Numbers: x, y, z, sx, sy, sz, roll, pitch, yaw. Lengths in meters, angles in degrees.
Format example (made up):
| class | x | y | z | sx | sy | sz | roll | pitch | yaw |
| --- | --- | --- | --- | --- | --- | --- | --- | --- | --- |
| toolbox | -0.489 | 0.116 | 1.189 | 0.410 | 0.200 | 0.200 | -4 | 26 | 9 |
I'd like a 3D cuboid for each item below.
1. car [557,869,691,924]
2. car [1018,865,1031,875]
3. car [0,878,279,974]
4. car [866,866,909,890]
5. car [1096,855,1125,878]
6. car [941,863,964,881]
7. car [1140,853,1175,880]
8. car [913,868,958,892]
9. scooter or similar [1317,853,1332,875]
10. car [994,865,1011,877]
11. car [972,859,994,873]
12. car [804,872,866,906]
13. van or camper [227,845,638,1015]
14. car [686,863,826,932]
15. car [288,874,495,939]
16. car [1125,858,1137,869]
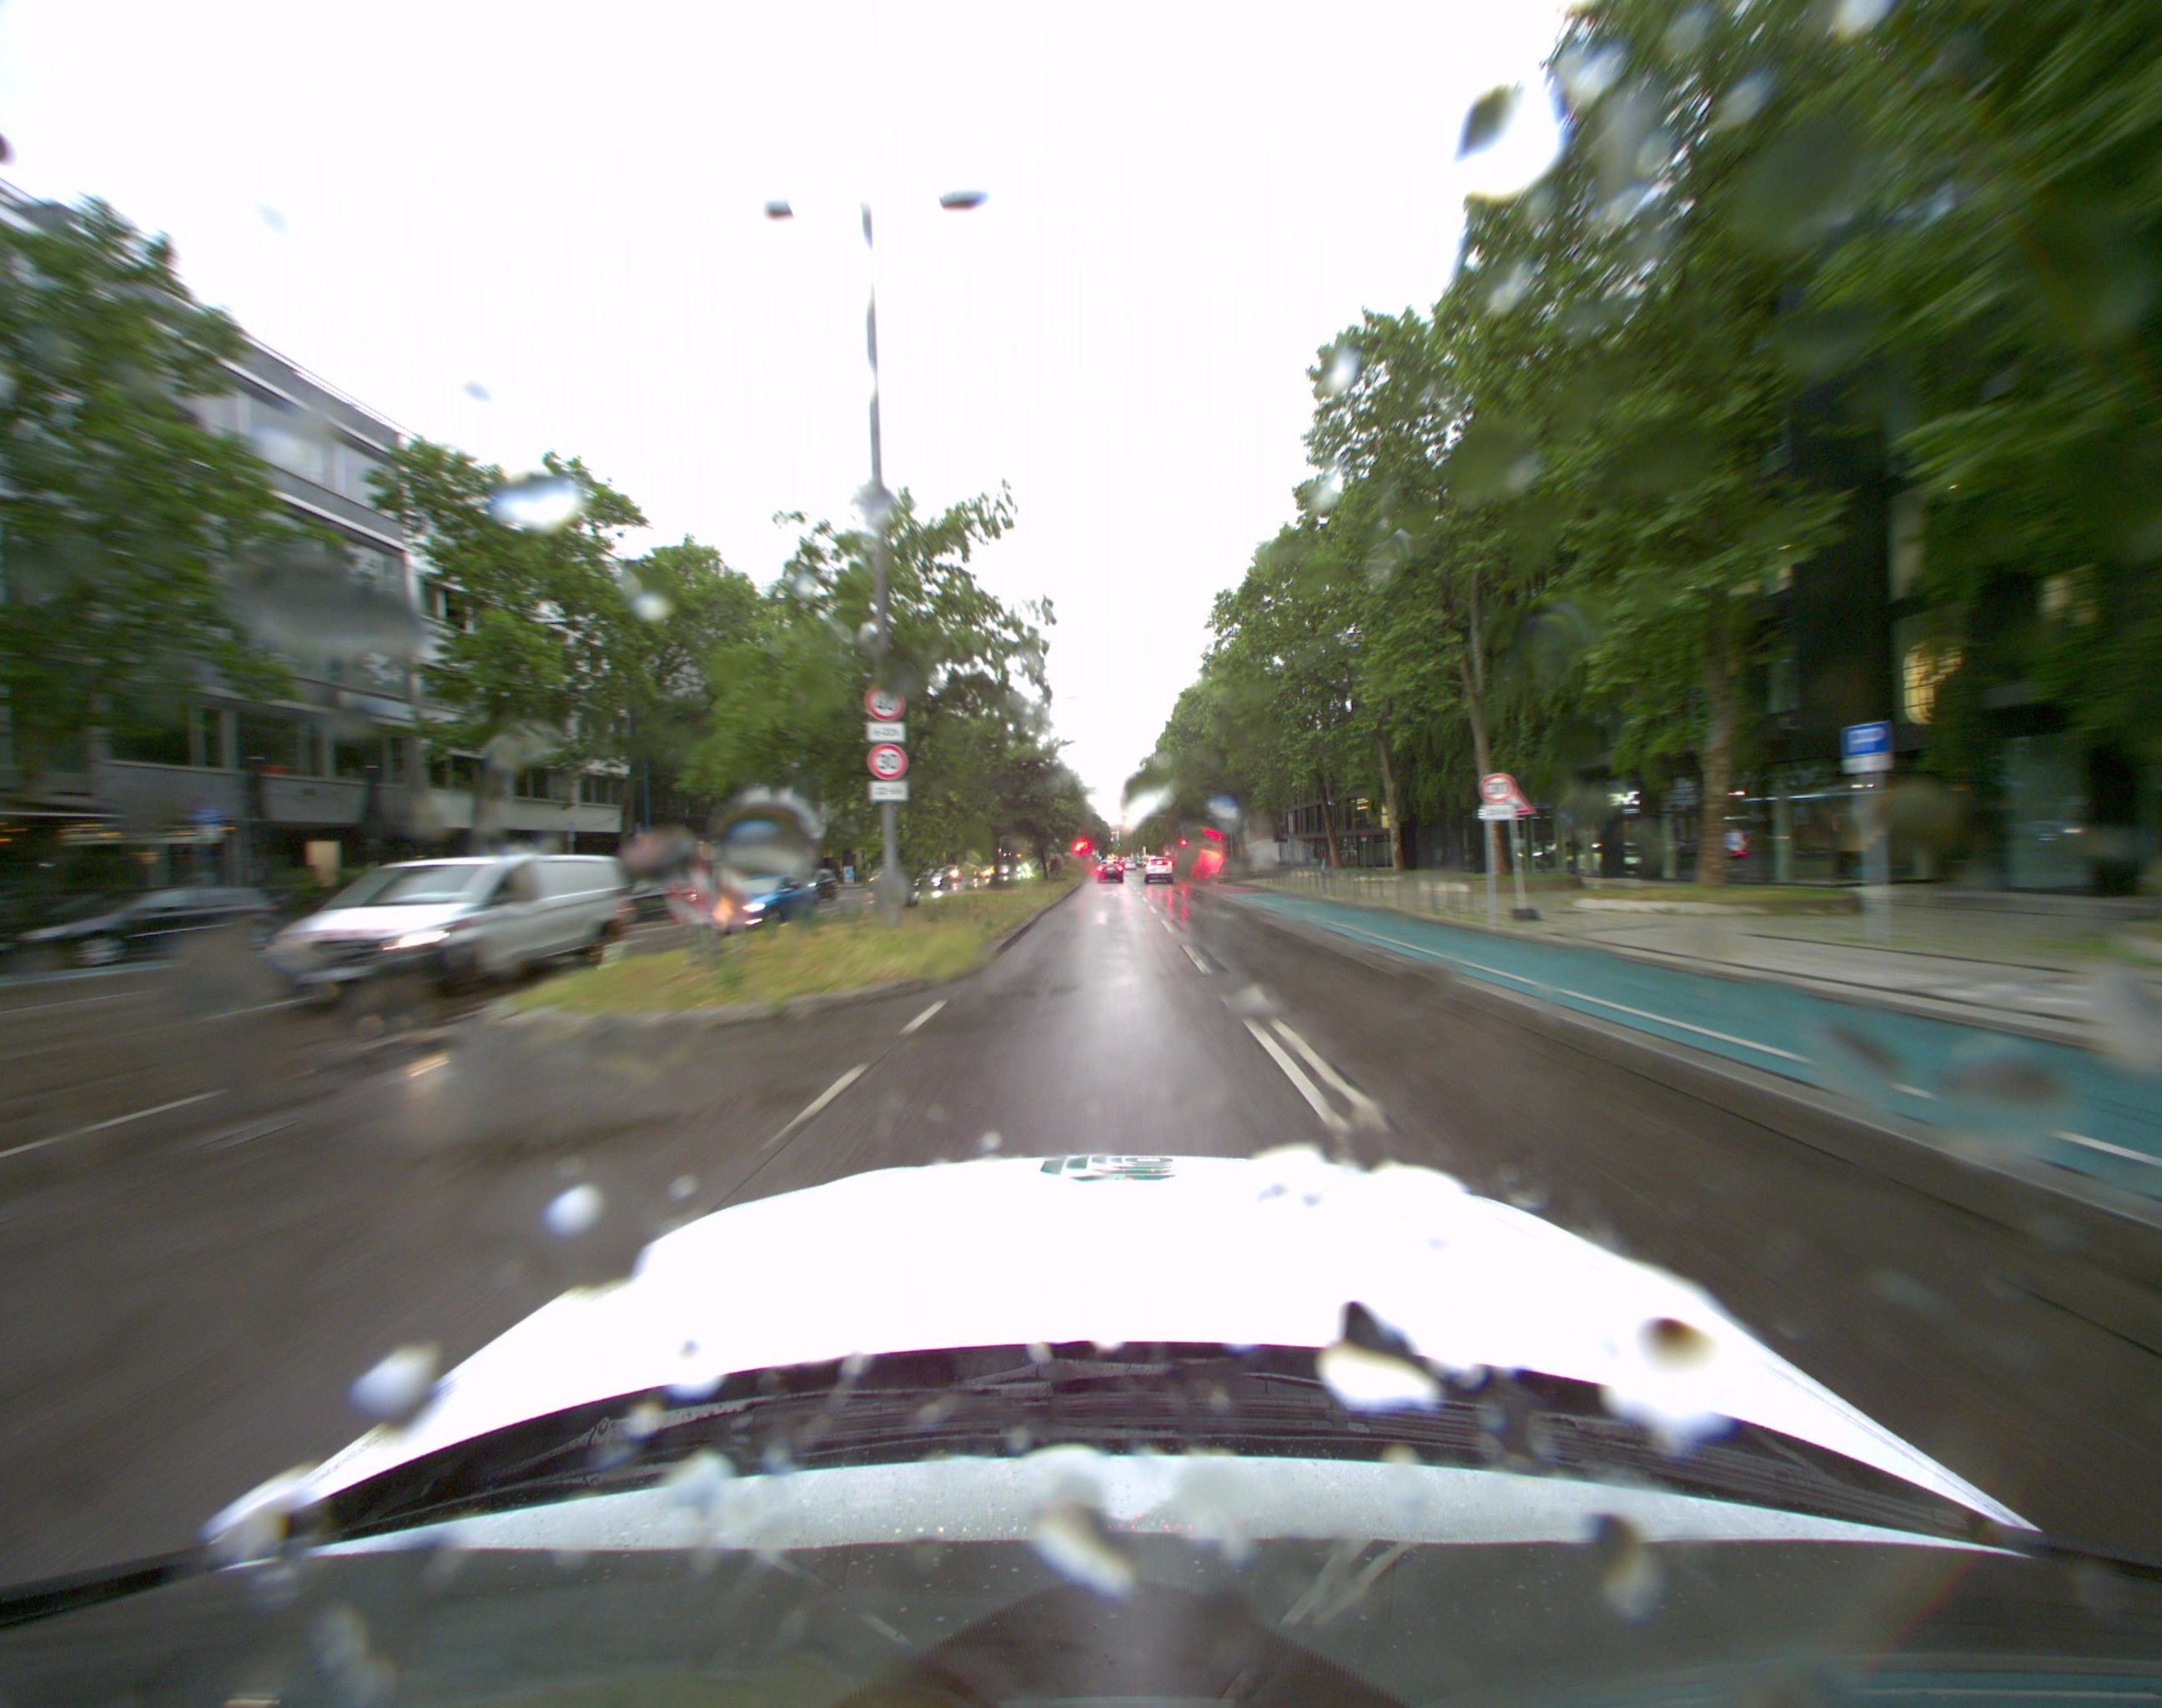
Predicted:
| class | x | y | z | sx | sy | sz | roll | pitch | yaw |
| --- | --- | --- | --- | --- | --- | --- | --- | --- | --- |
| car | -14.138 | 1.255 | 25.487 | 1.743 | 1.476 | 4.097 | -2 | -1 | 1 |
| car | -8.849 | 2.513 | 127.660 | 1.608 | 1.394 | 3.598 | -1 | -1 | 2 |
| car | -18.789 | 1.320 | 16.072 | 1.830 | 1.508 | 4.002 | -2 | 0 | 2 |
| car | -12.799 | 1.569 | 54.165 | 1.836 | 1.429 | 3.644 | -2 | 0 | 2 |
| car | 2.083 | 0.866 | 57.463 | 1.911 | 1.491 | 4.001 | -2 | 0 | 2 |
| car | -11.528 | 1.623 | 73.121 | 1.488 | 1.463 | 2.734 | -2 | 0 | 3 |
| car | 5.009 | 0.788 | 53.992 | 1.986 | 1.655 | 4.890 | -2 | 0 | 2 |
| car | -9.311 | 1.646 | 52.389 | 1.740 | 1.476 | 4.102 | -1 | -1 | 5 |
| scooter or similar | 13.662 | 0.564 | 45.693 | 0.377 | 1.228 | 1.086 | -2 | -1 | 38 |
| car | -10.185 | 2.135 | 105.347 | 1.608 | 1.394 | 4.186 | -2 | 0 | 2 |
| car | -10.827 | 1.322 | 90.096 | 1.836 | 1.389 | 4.001 | -2 | 0 | 2 |
| car | -11.190 | 1.585 | 37.268 | 1.712 | 1.367 | 3.051 | -1 | 1 | 3 |
| van or camper | -8.988 | 0.878 | 12.133 | 1.988 | 1.913 | 5.247 | -2 | 0 | -2 |
| car | -8.461 | 1.067 | 21.675 | 1.836 | 1.482 | 4.398 | -1 | 1 | 2 |
| car | -18.405 | 1.343 | 22.069 | 1.687 | 1.409 | 4.458 | -2 | 0 | 2 |
| car | 7.770 | 1.447 | 126.927 | 1.614 | 1.666 | 4.002 | -2 | 0 | 2 |
